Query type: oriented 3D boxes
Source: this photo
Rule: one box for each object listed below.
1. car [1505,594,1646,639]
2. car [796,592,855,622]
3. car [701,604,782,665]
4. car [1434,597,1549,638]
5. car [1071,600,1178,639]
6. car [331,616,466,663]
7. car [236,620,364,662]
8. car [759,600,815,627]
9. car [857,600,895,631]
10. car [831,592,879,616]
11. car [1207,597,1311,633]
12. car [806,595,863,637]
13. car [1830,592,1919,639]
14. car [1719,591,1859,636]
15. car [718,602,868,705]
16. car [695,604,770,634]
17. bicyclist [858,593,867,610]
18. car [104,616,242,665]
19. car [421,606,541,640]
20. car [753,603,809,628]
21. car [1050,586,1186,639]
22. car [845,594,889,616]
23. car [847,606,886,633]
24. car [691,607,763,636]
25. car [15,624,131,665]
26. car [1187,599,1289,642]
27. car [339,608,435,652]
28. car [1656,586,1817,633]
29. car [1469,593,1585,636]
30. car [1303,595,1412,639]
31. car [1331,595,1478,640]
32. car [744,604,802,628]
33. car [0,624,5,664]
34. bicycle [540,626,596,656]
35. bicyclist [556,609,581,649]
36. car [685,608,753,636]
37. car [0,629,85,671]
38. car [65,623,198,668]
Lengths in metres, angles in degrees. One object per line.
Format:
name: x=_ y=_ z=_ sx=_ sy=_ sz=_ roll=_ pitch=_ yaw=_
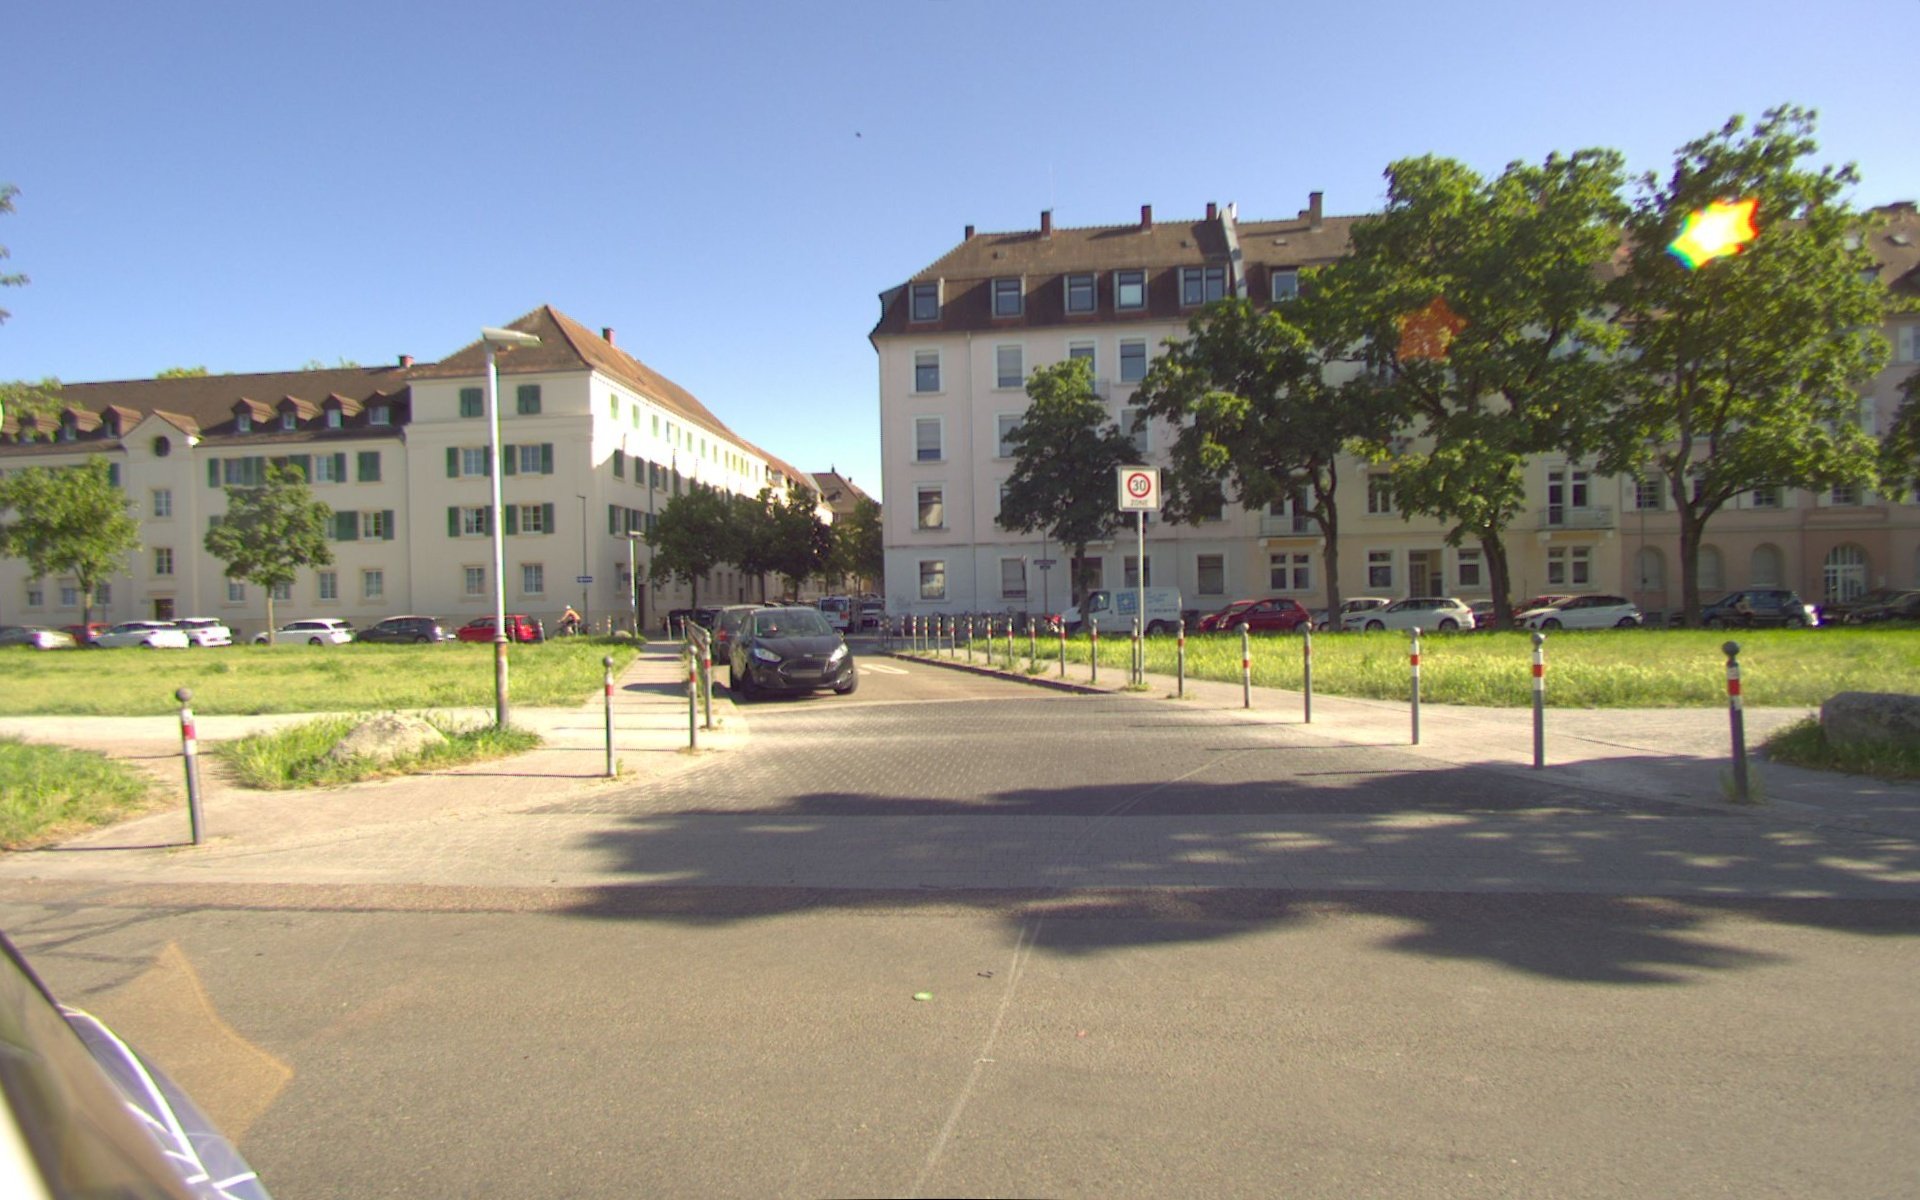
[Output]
car: x=22.445 y=0.601 z=37.015 sx=4.029 sy=1.538 sz=1.697 roll=-1 pitch=0 yaw=5
car: x=-11.935 y=0.633 z=89.848 sx=4.891 sy=2.538 sz=1.954 roll=-1 pitch=0 yaw=3
car: x=-6.407 y=0.958 z=29.369 sx=1.896 sy=1.588 sz=4.361 roll=-1 pitch=-1 yaw=-17
car: x=22.403 y=0.721 z=42.761 sx=3.814 sy=1.627 sz=1.887 roll=-1 pitch=0 yaw=6
car: x=7.186 y=0.828 z=44.602 sx=4.394 sy=1.598 sz=1.998 roll=-1 pitch=0 yaw=3
car: x=-23.871 y=1.670 z=43.108 sx=4.646 sy=1.834 sz=2.161 roll=-1 pitch=0 yaw=6
car: x=-32.449 y=1.980 z=49.842 sx=5.097 sy=1.900 sz=2.156 roll=-1 pitch=0 yaw=7
car: x=-12.655 y=0.960 z=74.140 sx=3.664 sy=1.848 sz=1.954 roll=-1 pitch=0 yaw=3
car: x=-5.684 y=1.044 z=68.915 sx=1.973 sy=1.988 sz=5.050 roll=-1 pitch=0 yaw=2
car: x=-11.383 y=0.440 z=109.885 sx=4.891 sy=2.413 sz=1.954 roll=-1 pitch=0 yaw=3
car: x=11.288 y=0.563 z=38.370 sx=3.481 sy=1.289 sz=1.697 roll=-1 pitch=0 yaw=5
car: x=-6.543 y=0.804 z=53.271 sx=2.113 sy=2.029 sz=4.572 roll=-1 pitch=0 yaw=4
car: x=33.746 y=0.506 z=35.626 sx=4.470 sy=1.561 sz=1.759 roll=-1 pitch=0 yaw=5
car: x=33.683 y=0.533 z=41.209 sx=3.955 sy=1.714 sz=1.847 roll=-1 pitch=0 yaw=10
car: x=-2.990 y=0.812 z=17.317 sx=1.888 sy=1.420 sz=4.361 roll=-3 pitch=0 yaw=-17
car: x=-14.031 y=1.175 z=62.548 sx=4.188 sy=1.714 sz=1.704 roll=-1 pitch=0 yaw=5
bicyclist: x=-8.007 y=0.160 z=83.114 sx=0.526 sy=1.374 sz=0.785 roll=-1 pitch=0 yaw=3
car: x=-39.528 y=2.015 z=50.924 sx=5.192 sy=2.233 sz=2.535 roll=-1 pitch=0 yaw=6
car: x=-22.948 y=1.100 z=48.539 sx=4.898 sy=1.496 sz=1.996 roll=-1 pitch=-1 yaw=7
car: x=-12.684 y=1.065 z=71.739 sx=3.568 sy=1.653 sz=1.830 roll=-1 pitch=0 yaw=3
car: x=6.057 y=0.475 z=39.405 sx=5.033 sy=1.886 sz=2.085 roll=-1 pitch=0 yaw=5
car: x=-10.787 y=0.558 z=117.718 sx=4.891 sy=2.413 sz=1.954 roll=-1 pitch=0 yaw=3
car: x=-5.880 y=1.183 z=63.931 sx=1.912 sy=1.580 sz=3.879 roll=-1 pitch=0 yaw=3
car: x=-13.165 y=1.215 z=57.313 sx=3.622 sy=1.533 sz=1.710 roll=-1 pitch=0 yaw=6
car: x=-45.080 y=2.225 z=51.477 sx=4.115 sy=1.919 sz=2.267 roll=-1 pitch=0 yaw=6
car: x=12.073 y=0.895 z=44.200 sx=4.007 sy=1.765 sz=1.995 roll=-1 pitch=0 yaw=8
car: x=-27.814 y=1.449 z=49.206 sx=3.850 sy=2.029 sz=1.667 roll=-1 pitch=-1 yaw=7
car: x=27.658 y=0.329 z=36.157 sx=4.299 sy=1.561 sz=1.634 roll=-1 pitch=0 yaw=5
car: x=22.454 y=0.579 z=40.182 sx=3.548 sy=1.614 sz=1.778 roll=-1 pitch=0 yaw=6
car: x=17.040 y=0.738 z=43.515 sx=3.951 sy=1.770 sz=1.865 roll=-1 pitch=0 yaw=6
car: x=16.494 y=0.645 z=37.729 sx=4.638 sy=1.573 sz=1.697 roll=-1 pitch=0 yaw=5
car: x=-12.707 y=1.095 z=69.018 sx=3.568 sy=1.532 sz=1.858 roll=-1 pitch=0 yaw=3
car: x=-47.159 y=2.077 z=46.144 sx=5.391 sy=1.834 sz=2.452 roll=-1 pitch=0 yaw=9
bicycle: x=-17.752 y=1.845 z=45.805 sx=2.230 sy=1.272 sz=0.843 roll=-1 pitch=0 yaw=7
bicyclist: x=-17.723 y=1.305 z=45.803 sx=0.792 sy=1.816 sz=0.674 roll=-1 pitch=0 yaw=7
car: x=-14.336 y=1.288 z=60.331 sx=3.568 sy=1.532 sz=1.707 roll=-1 pitch=0 yaw=3
car: x=-42.197 y=2.236 z=45.498 sx=3.963 sy=1.763 sz=2.319 roll=-1 pitch=0 yaw=9
car: x=-36.630 y=2.001 z=44.791 sx=4.204 sy=1.834 sz=2.240 roll=-1 pitch=0 yaw=5
